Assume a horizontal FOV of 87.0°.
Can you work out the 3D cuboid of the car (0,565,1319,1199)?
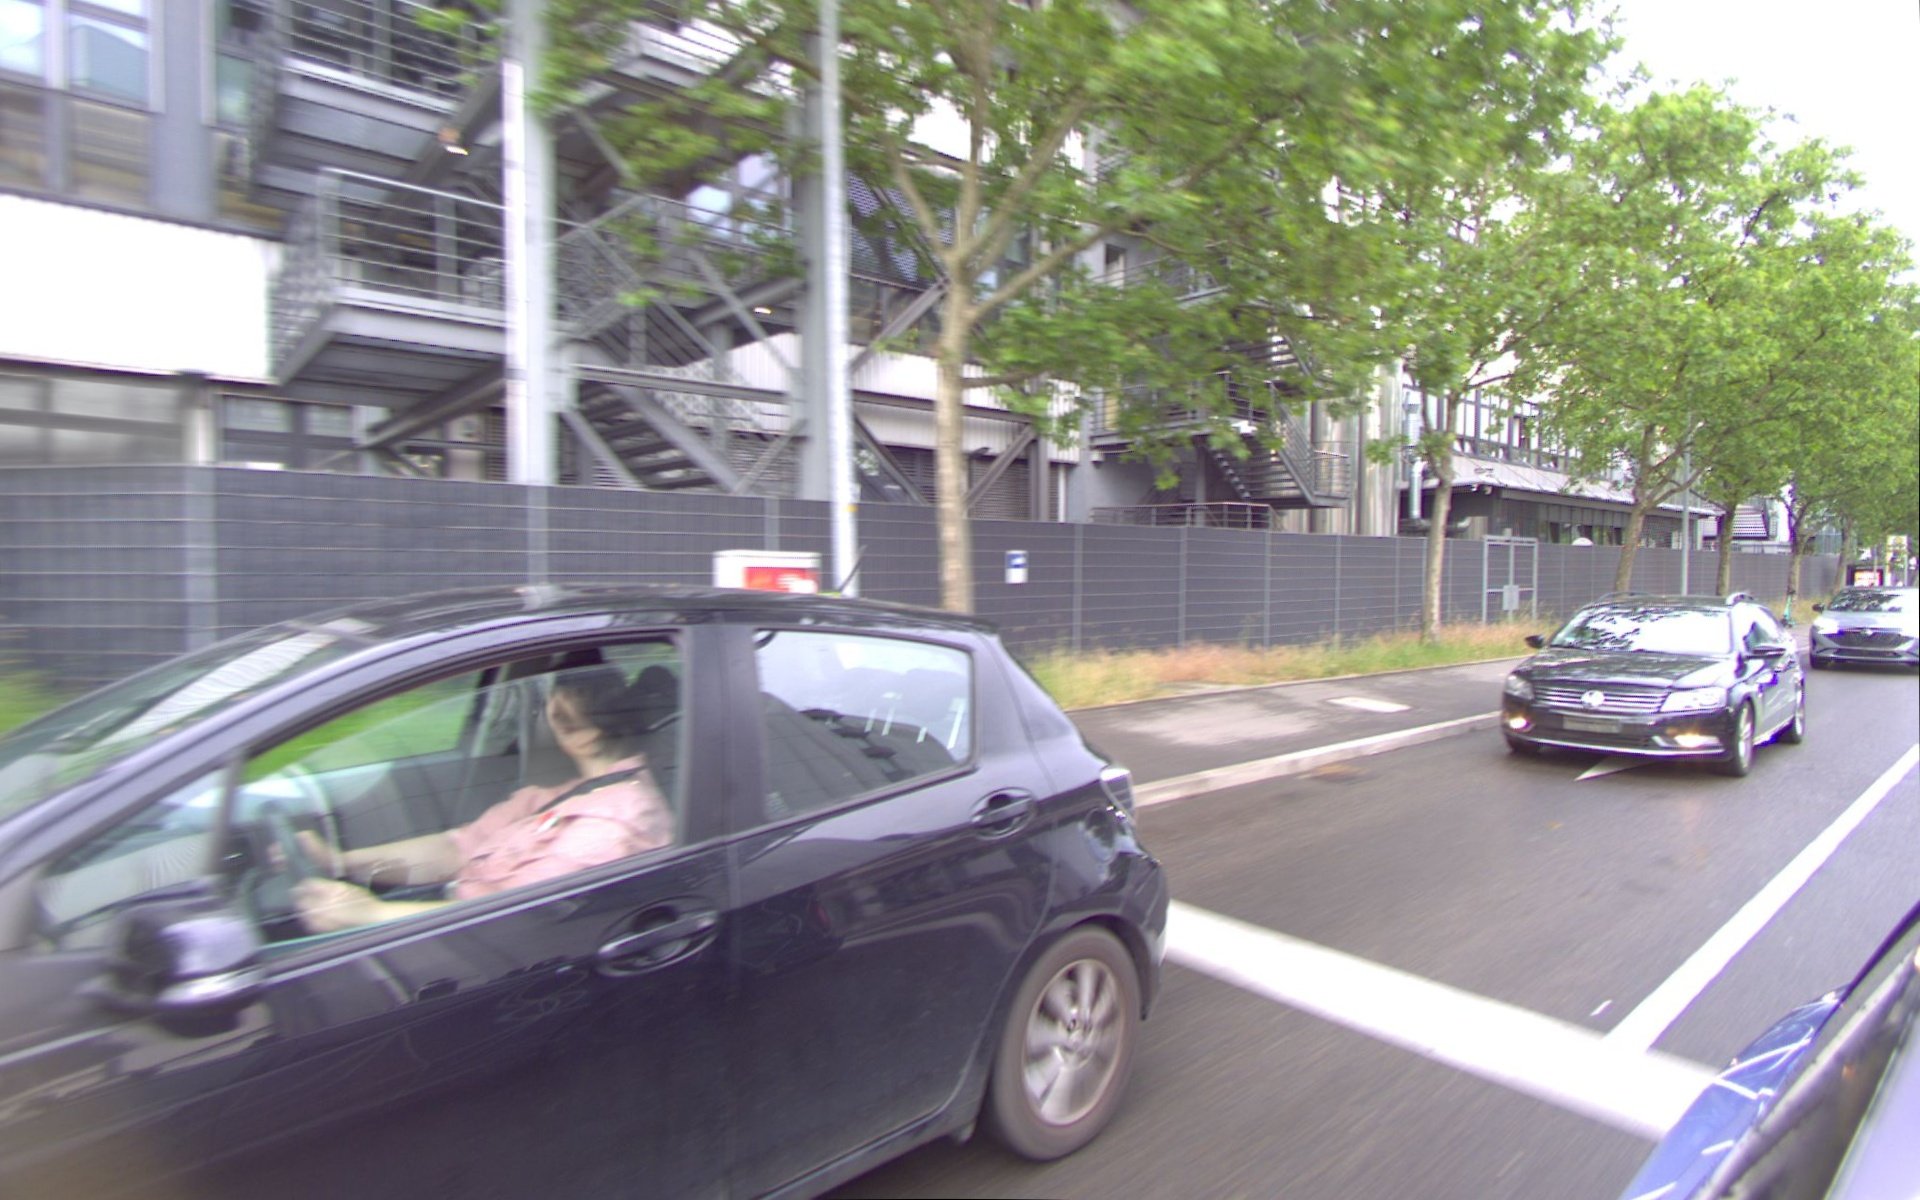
[{"bbox_3d":[-1.079,0.672,2.495,4.561,1.488,1.747,-1,2,-42],"label":"car"}]

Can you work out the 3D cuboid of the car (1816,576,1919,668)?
[{"bbox_3d":[18.201,0.349,19.661,4.258,1.610,1.824,-1,2,-42],"label":"car"}]

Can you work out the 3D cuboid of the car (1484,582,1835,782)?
[{"bbox_3d":[6.746,0.560,9.556,4.440,1.448,1.747,-1,2,-42],"label":"car"}]
